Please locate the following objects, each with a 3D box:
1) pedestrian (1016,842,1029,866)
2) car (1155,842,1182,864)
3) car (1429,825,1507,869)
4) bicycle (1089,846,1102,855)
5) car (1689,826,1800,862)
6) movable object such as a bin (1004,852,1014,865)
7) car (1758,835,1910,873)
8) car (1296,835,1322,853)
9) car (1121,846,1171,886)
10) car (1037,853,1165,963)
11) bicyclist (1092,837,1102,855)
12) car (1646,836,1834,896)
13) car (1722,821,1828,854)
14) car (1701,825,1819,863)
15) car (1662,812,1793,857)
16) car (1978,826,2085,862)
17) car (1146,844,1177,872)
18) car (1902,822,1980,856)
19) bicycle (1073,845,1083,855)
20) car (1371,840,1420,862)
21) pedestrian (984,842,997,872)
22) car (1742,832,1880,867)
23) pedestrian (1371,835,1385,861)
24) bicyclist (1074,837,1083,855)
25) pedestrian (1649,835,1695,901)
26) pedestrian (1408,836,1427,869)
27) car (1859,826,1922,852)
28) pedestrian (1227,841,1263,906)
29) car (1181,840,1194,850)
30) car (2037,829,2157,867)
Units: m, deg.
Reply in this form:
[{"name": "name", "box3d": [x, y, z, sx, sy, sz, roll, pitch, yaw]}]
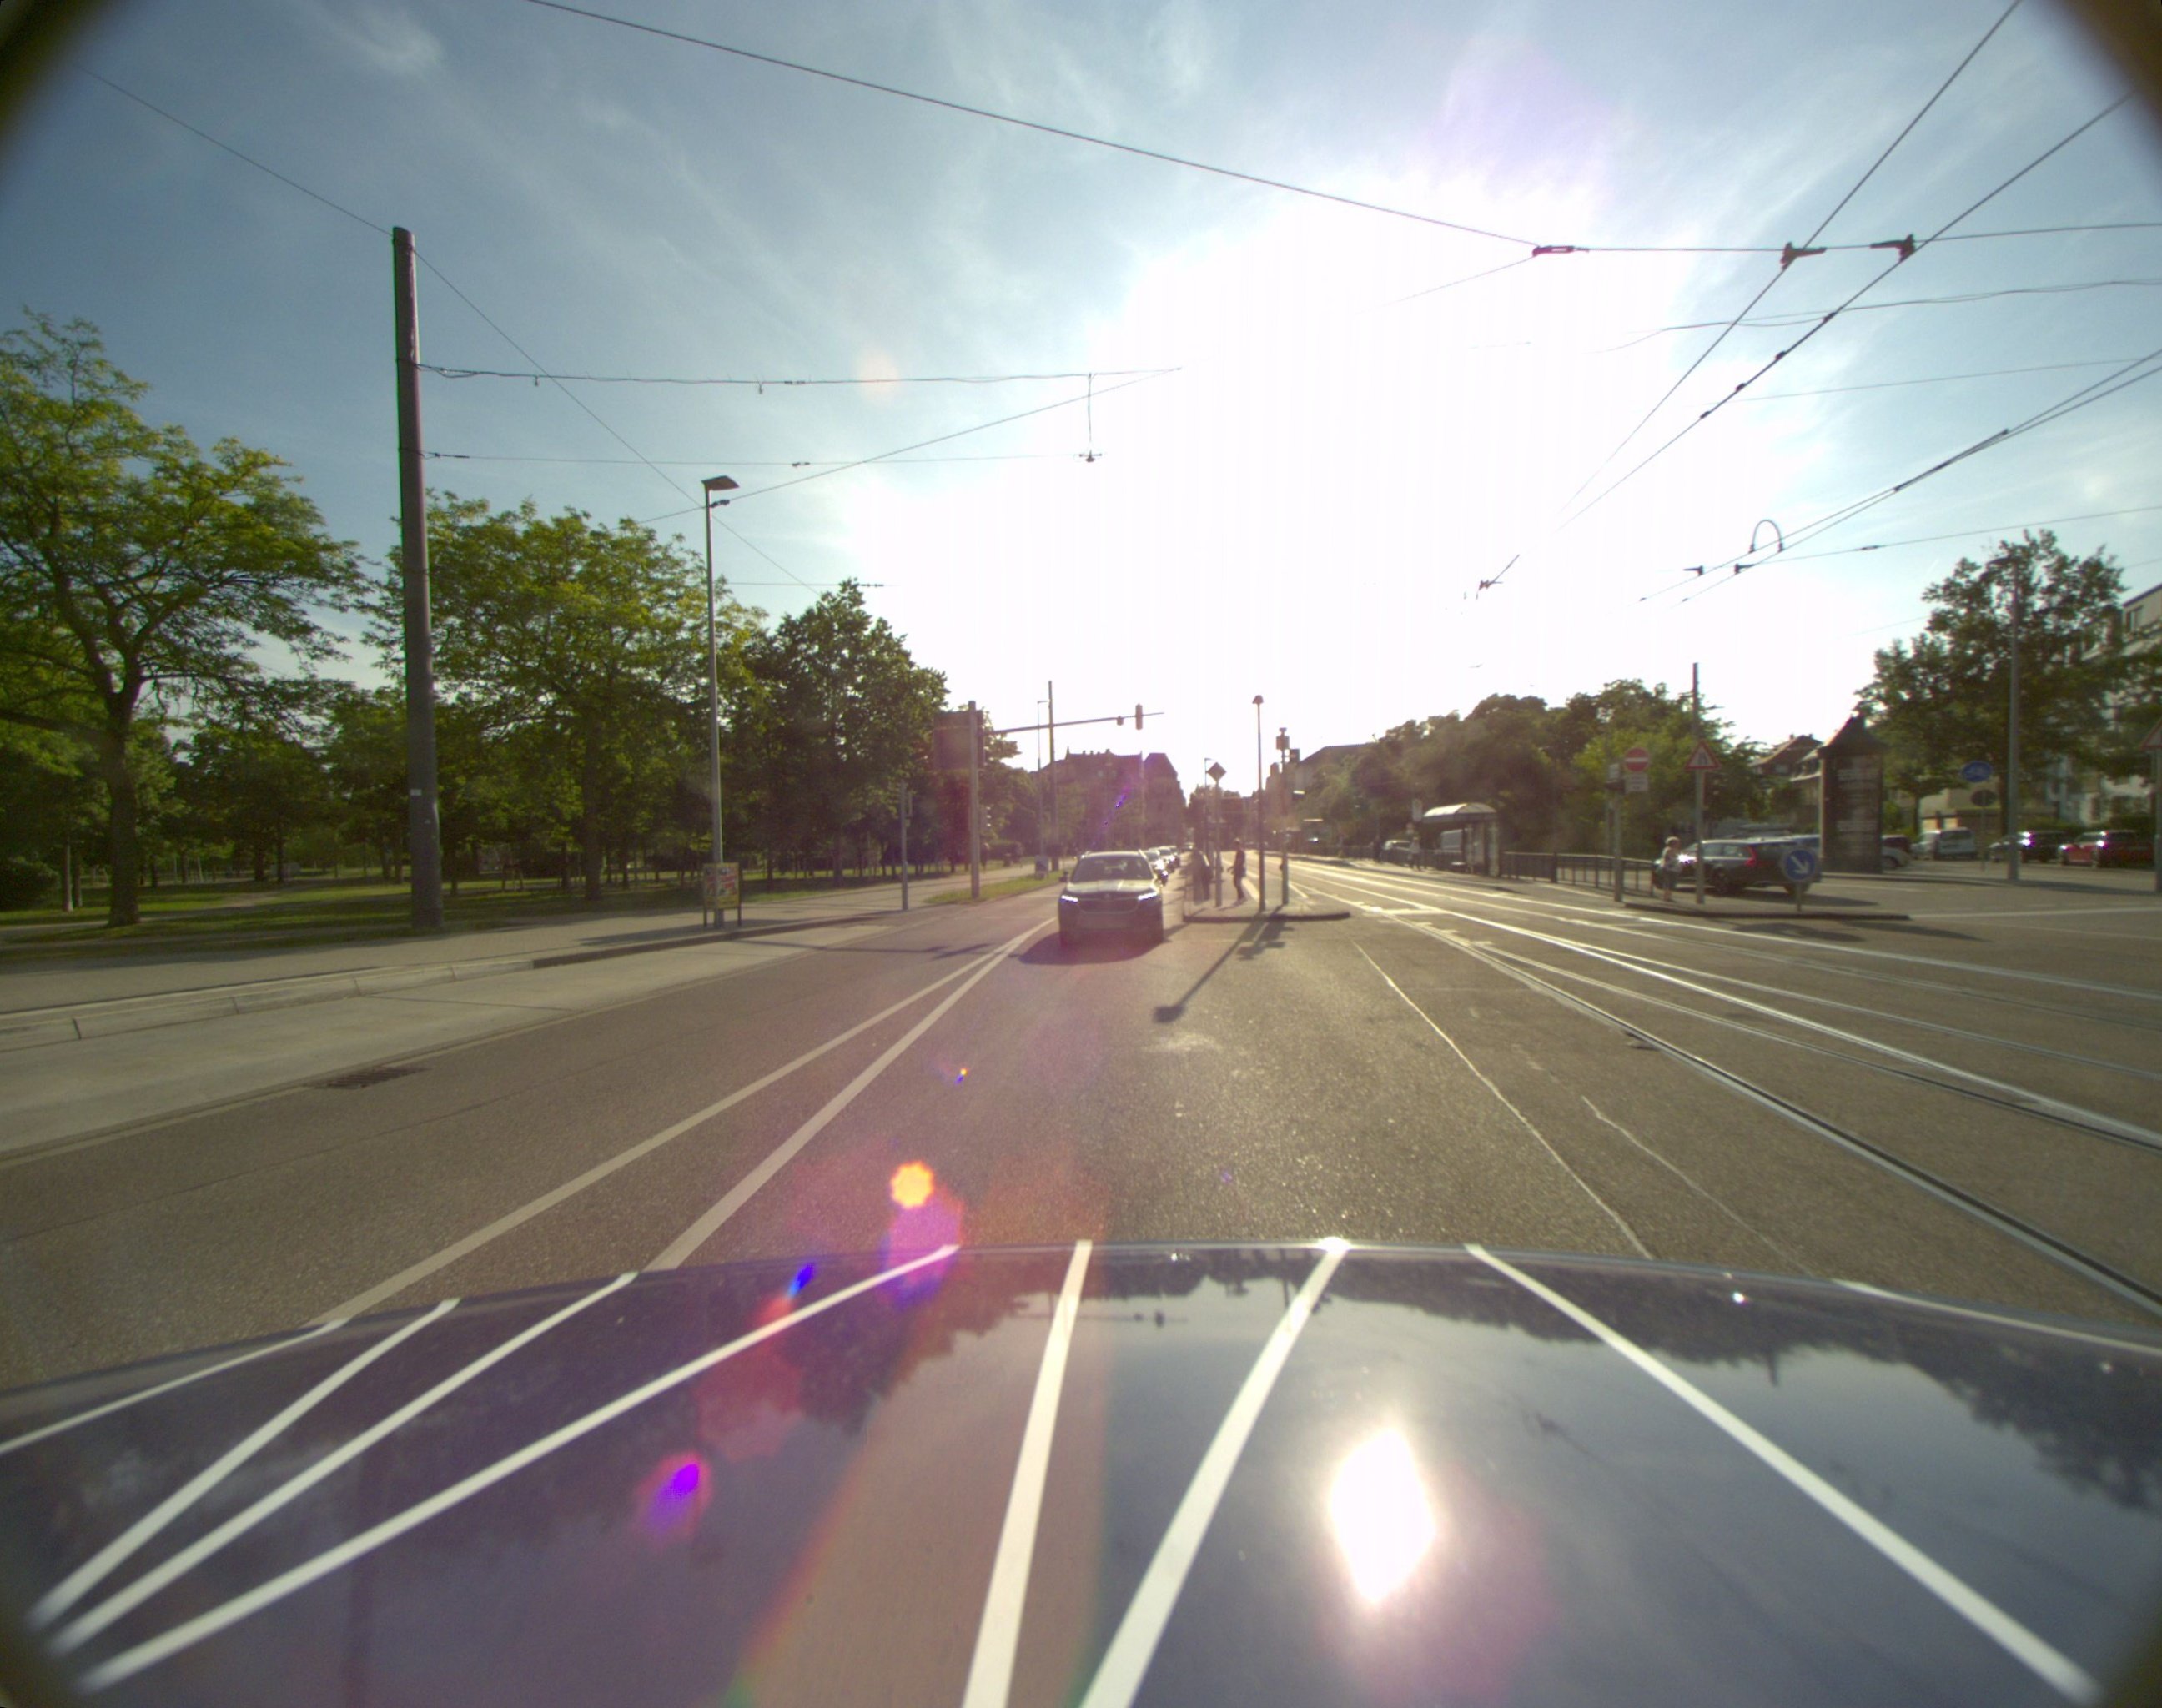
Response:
[{"name": "pedestrian", "box3d": [-4.085, -0.011, 53.001, 0.620, 1.642, 0.663, -1, 2, 16]}, {"name": "car", "box3d": [6.252, -0.091, 54.201, 1.780, 1.496, 4.002, -1, 1, 8]}, {"name": "car", "box3d": [21.210, -0.400, 41.895, 2.181, 2.226, 5.255, -1, 1, 8]}, {"name": "bicycle", "box3d": [1.471, -0.339, 75.495, 0.739, 0.912, 2.097, -1, 1, 17]}, {"name": "car", "box3d": [34.316, -0.518, 39.425, 3.989, 1.744, 1.857, 0, 1, 27]}, {"name": "movable object such as a bin", "box3d": [-5.240, 0.316, 55.541, 0.525, 0.899, 0.502, -2, 2, -43]}, {"name": "car", "box3d": [29.974, -0.016, 30.422, 3.989, 1.420, 1.776, 0, 1, 29]}, {"name": "car", "box3d": [26.844, -1.213, 89.701, 2.149, 2.002, 5.389, -1, 1, 9]}, {"name": "car", "box3d": [2.728, 0.442, 31.116, 1.780, 1.496, 4.002, -1, 1, 8]}, {"name": "car", "box3d": [0.505, 0.800, 13.204, 1.780, 1.496, 4.001, -3, 1, 7]}, {"name": "bicyclist", "box3d": [1.568, -0.767, 75.787, 0.729, 1.763, 1.016, -1, 2, 15]}, {"name": "car", "box3d": [18.371, 0.316, 21.533, 1.770, 1.486, 4.747, -1, 0, 9]}, {"name": "car", "box3d": [38.659, -0.920, 42.461, 3.989, 1.744, 1.857, 0, 1, 27]}, {"name": "car", "box3d": [33.448, -0.488, 37.573, 3.989, 1.744, 1.857, 0, 1, 27]}, {"name": "car", "box3d": [44.193, -1.297, 52.173, 6.584, 2.793, 1.776, -1, 1, 29]}, {"name": "car", "box3d": [43.361, -0.461, 34.799, 1.813, 1.564, 4.007, 0, 1, 32]}, {"name": "car", "box3d": [4.720, 0.186, 44.199, 1.671, 1.496, 3.873, -1, 1, 8]}, {"name": "car", "box3d": [48.838, -0.849, 43.238, 1.813, 1.789, 4.007, 0, 1, 31]}, {"name": "bicycle", "box3d": [-0.262, -0.421, 75.872, 0.739, 0.912, 2.095, -1, 1, 7]}, {"name": "car", "box3d": [22.593, -0.205, 54.762, 1.681, 1.517, 4.123, -1, 0, -2]}, {"name": "pedestrian", "box3d": [-5.221, 0.169, 43.738, 0.558, 1.691, 0.662, -1, 2, 8]}, {"name": "car", "box3d": [31.464, -0.196, 32.917, 3.989, 1.420, 1.776, 0, 1, 29]}, {"name": "pedestrian", "box3d": [18.902, -0.377, 48.375, 0.736, 1.619, 0.690, -1, 2, 8]}, {"name": "bicyclist", "box3d": [-0.257, -0.828, 75.969, 0.753, 1.763, 1.119, -1, 1, 7]}, {"name": "pedestrian", "box3d": [14.459, 0.341, 18.589, 0.591, 1.580, 0.715, -1, 2, 5]}, {"name": "pedestrian", "box3d": [16.890, -0.074, 38.187, 0.707, 1.619, 0.727, -1, 2, 8]}, {"name": "car", "box3d": [52.914, -0.992, 49.771, 1.813, 1.605, 4.007, 0, 1, 31]}, {"name": "pedestrian", "box3d": [4.276, 0.505, 19.868, 0.882, 1.660, 0.672, -1, 2, 11]}, {"name": "car", "box3d": [18.295, -1.568, 130.826, 1.997, 1.674, 4.001, -1, 1, 6]}, {"name": "car", "box3d": [40.284, -0.253, 30.254, 1.545, 1.418, 3.872, 0, 1, 32]}]
